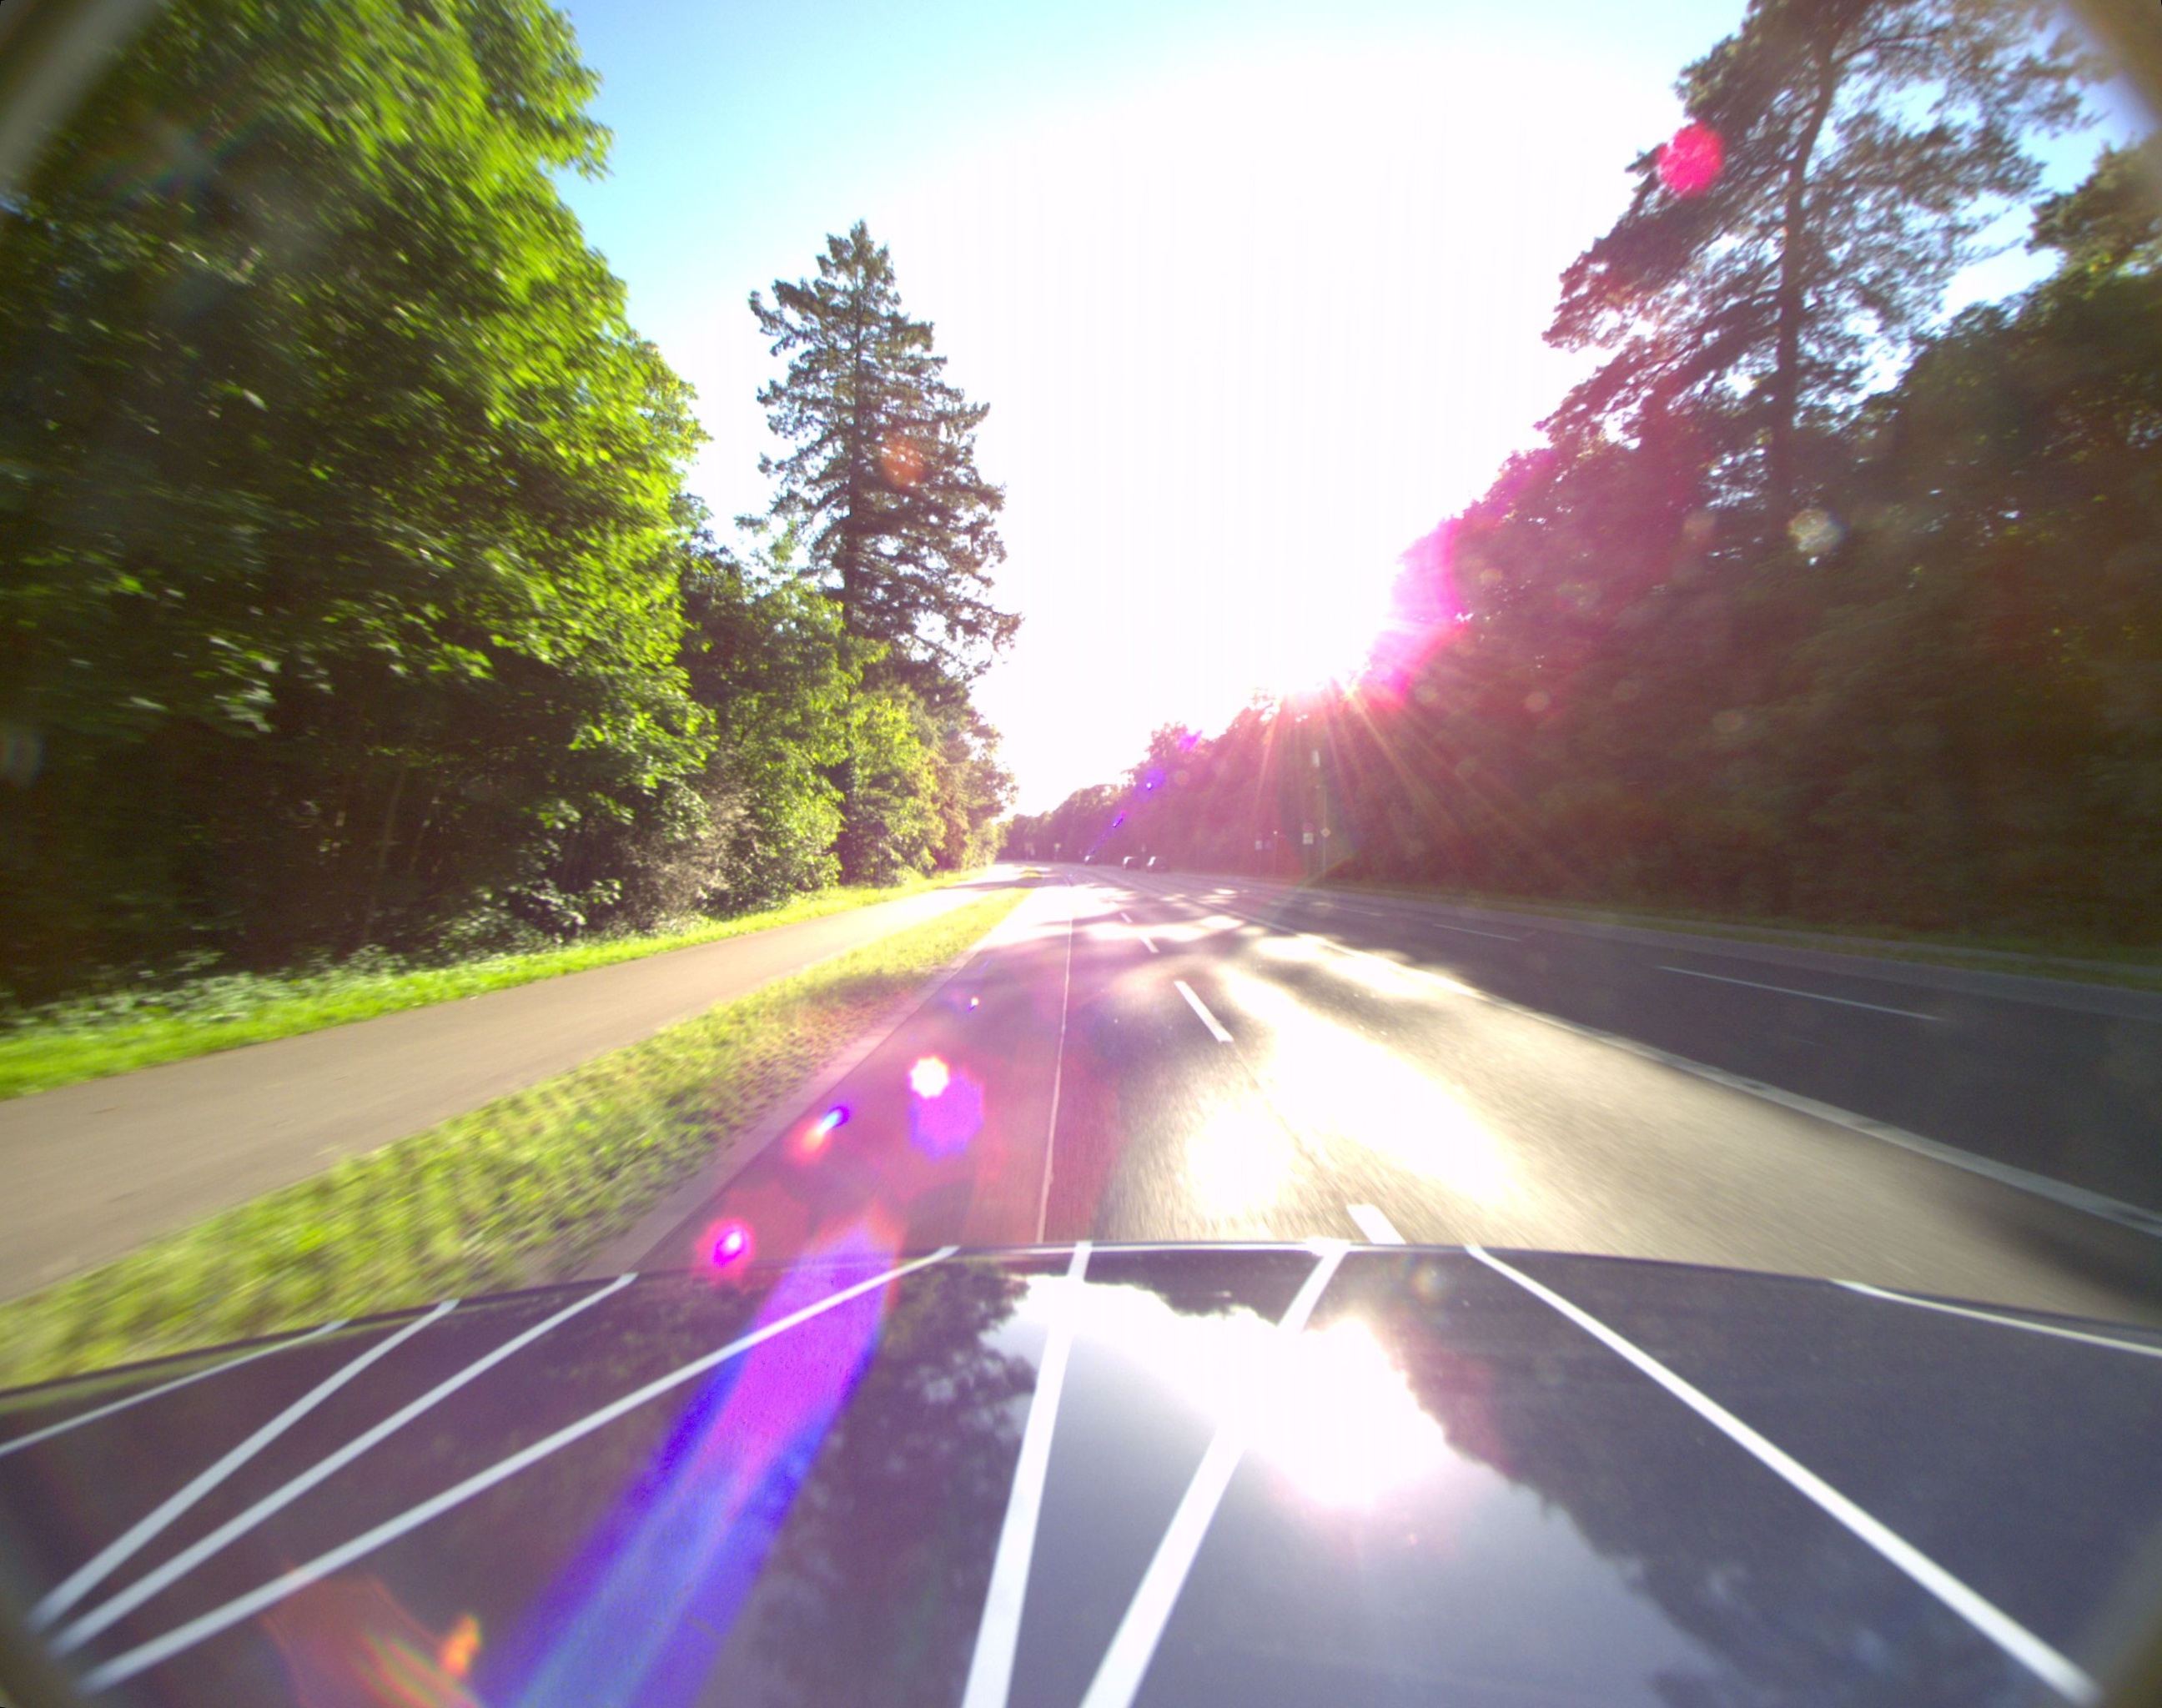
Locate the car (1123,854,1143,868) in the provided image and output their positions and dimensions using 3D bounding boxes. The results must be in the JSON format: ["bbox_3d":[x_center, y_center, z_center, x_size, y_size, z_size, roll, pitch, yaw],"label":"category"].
[{"bbox_3d":[5.999,0.766,87.464,1.743,1.449,3.997,-3,0,-3],"label":"car"}]

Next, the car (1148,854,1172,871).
[{"bbox_3d":[7.289,0.762,70.449,1.661,1.472,4.171,-1,0,-2],"label":"car"}]

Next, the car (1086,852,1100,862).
[{"bbox_3d":[2.103,0.533,132.792,1.901,1.601,4.447,0,0,-5],"label":"car"}]
